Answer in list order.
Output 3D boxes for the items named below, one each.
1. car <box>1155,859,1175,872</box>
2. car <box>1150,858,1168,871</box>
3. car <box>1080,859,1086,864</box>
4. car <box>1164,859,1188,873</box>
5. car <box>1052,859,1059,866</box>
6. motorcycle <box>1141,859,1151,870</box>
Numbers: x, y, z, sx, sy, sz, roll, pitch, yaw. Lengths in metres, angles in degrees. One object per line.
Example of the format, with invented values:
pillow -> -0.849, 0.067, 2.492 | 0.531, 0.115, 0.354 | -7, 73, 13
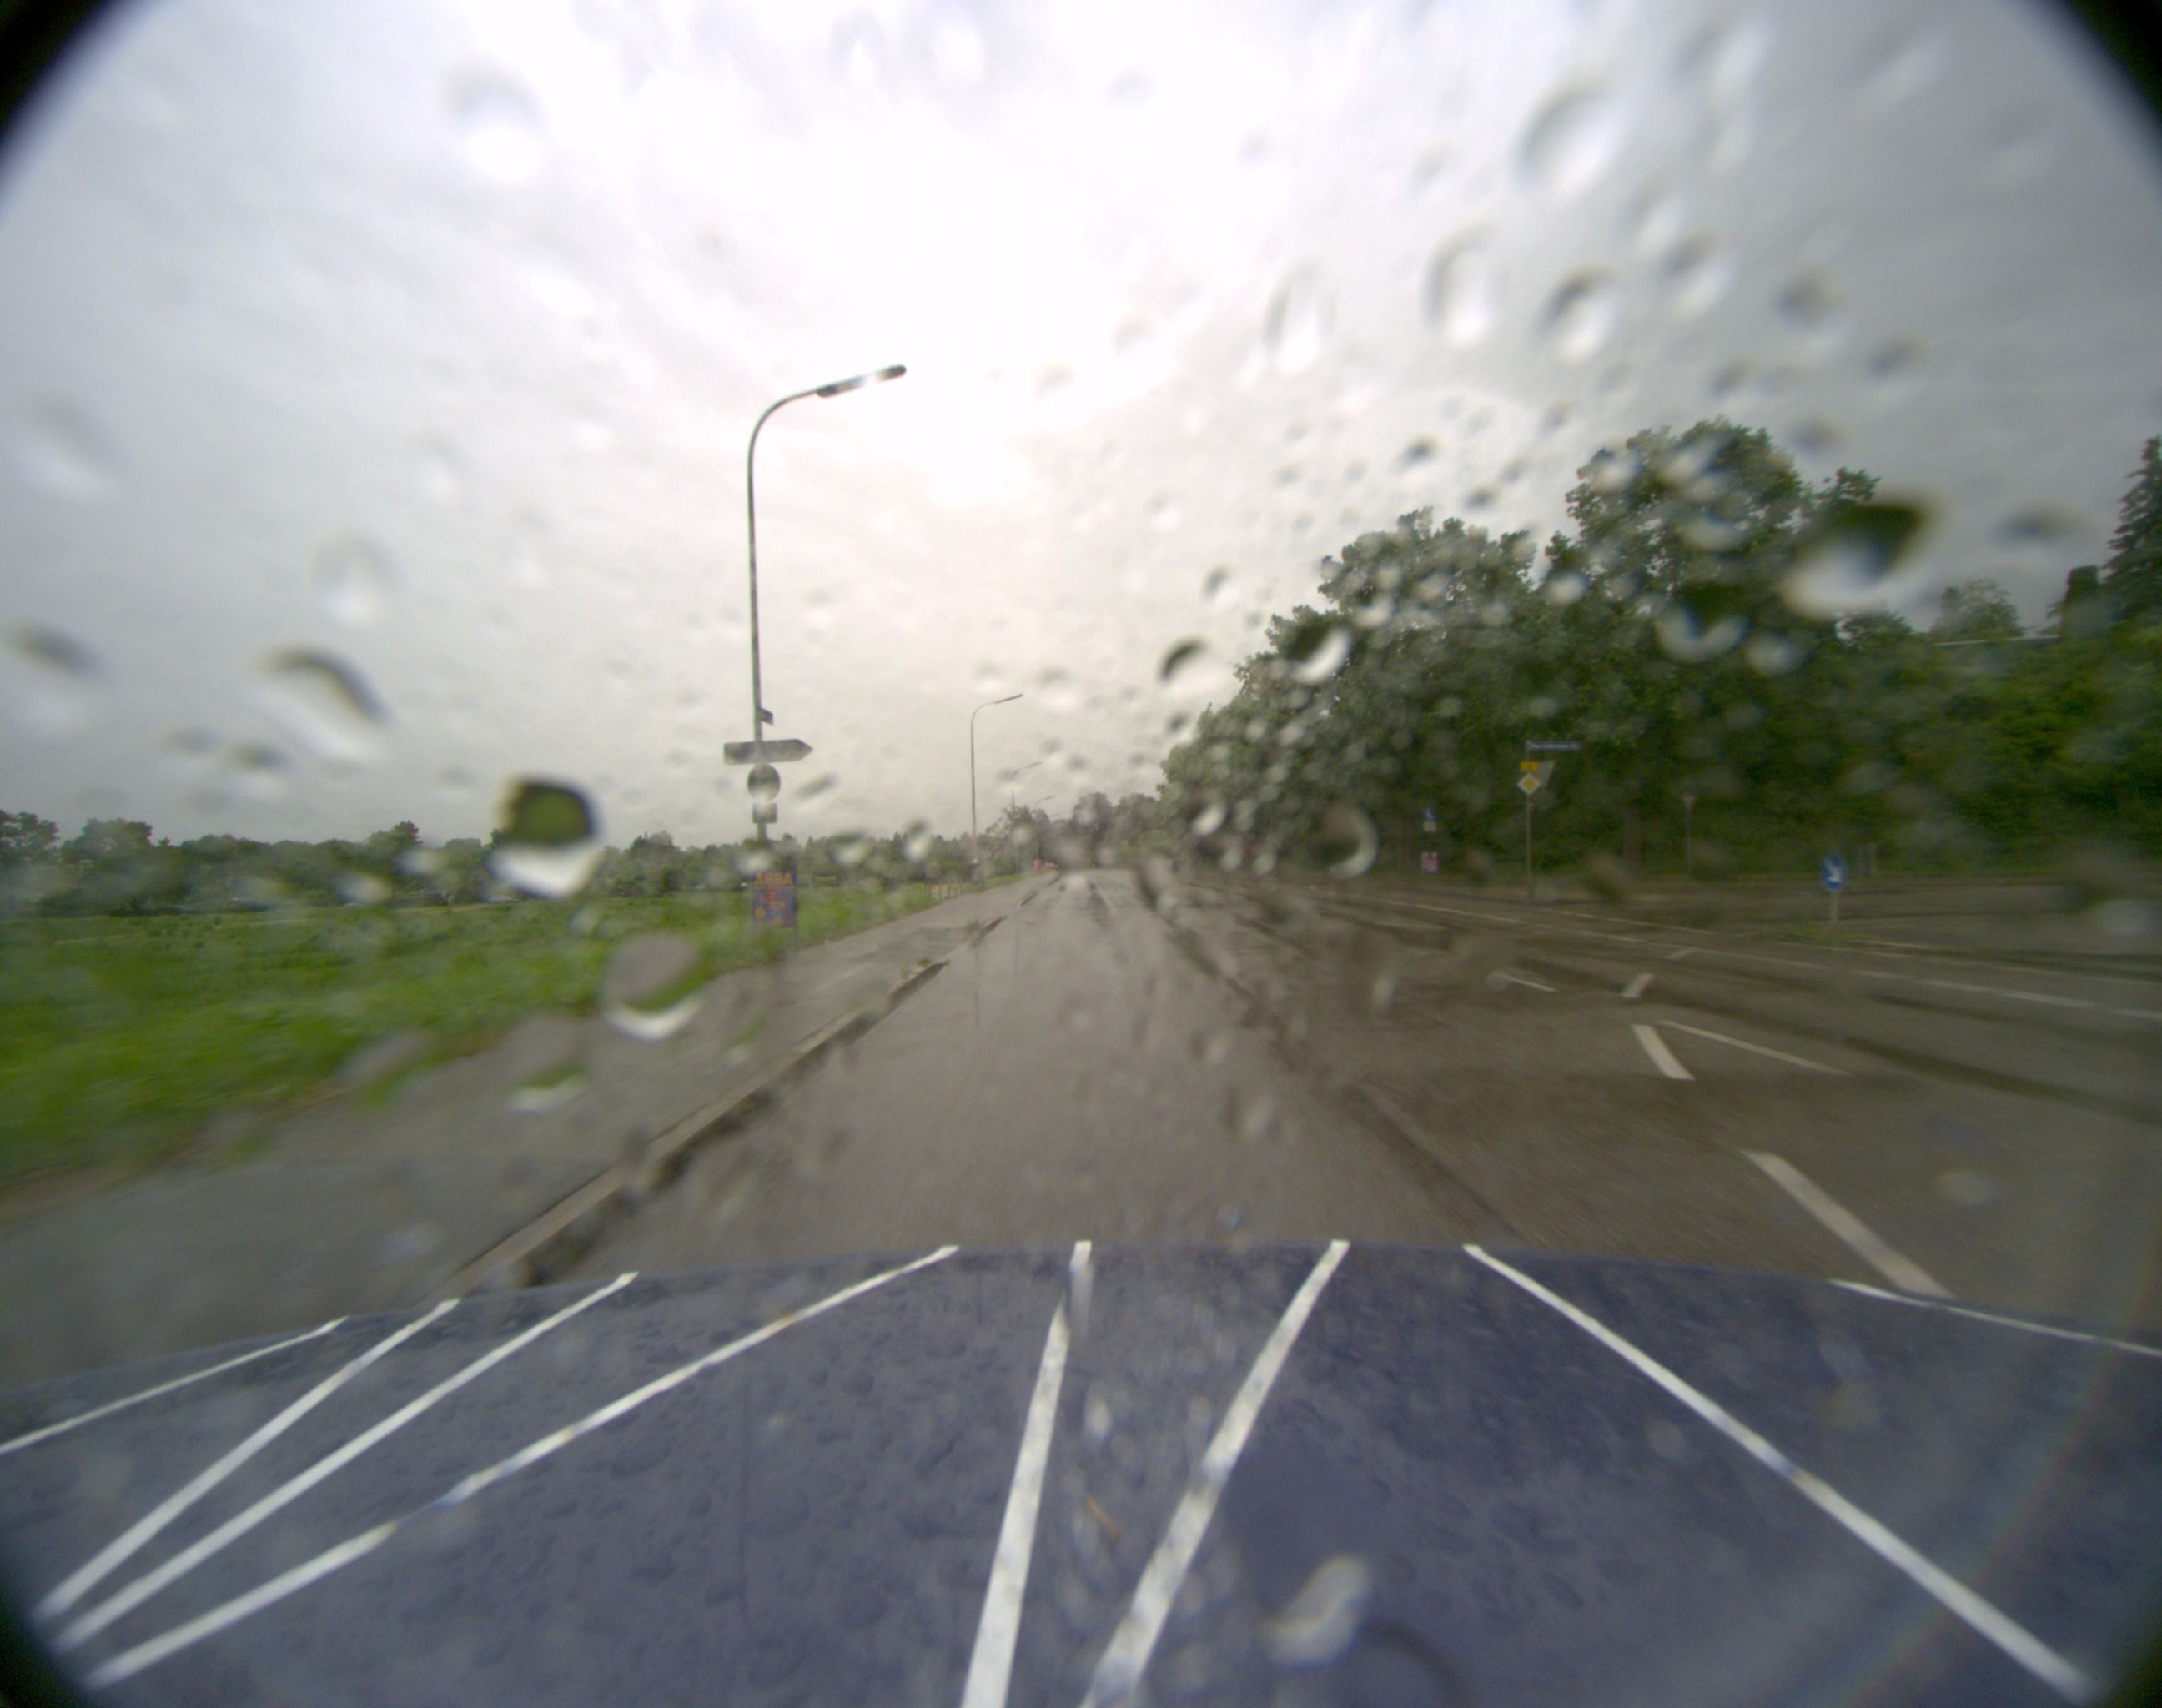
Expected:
car -> 9.512, 1.270, 86.611 | 1.437, 1.411, 4.102 | -1, 0, -6
car -> 9.317, 1.278, 90.481 | 1.438, 1.528, 2.817 | -1, 0, -10
car -> 0.581, 2.555, 245.510 | 1.854, 1.583, 3.704 | -2, -1, -3
car -> 10.182, 1.249, 81.467 | 1.691, 1.411, 4.740 | -1, 0, -3
car -> -7.865, 2.779, 236.618 | 1.999, 2.001, 4.000 | -2, -1, -2
motorcycle -> 8.335, 1.380, 97.583 | 0.840, 1.333, 2.497 | -1, 0, -7
